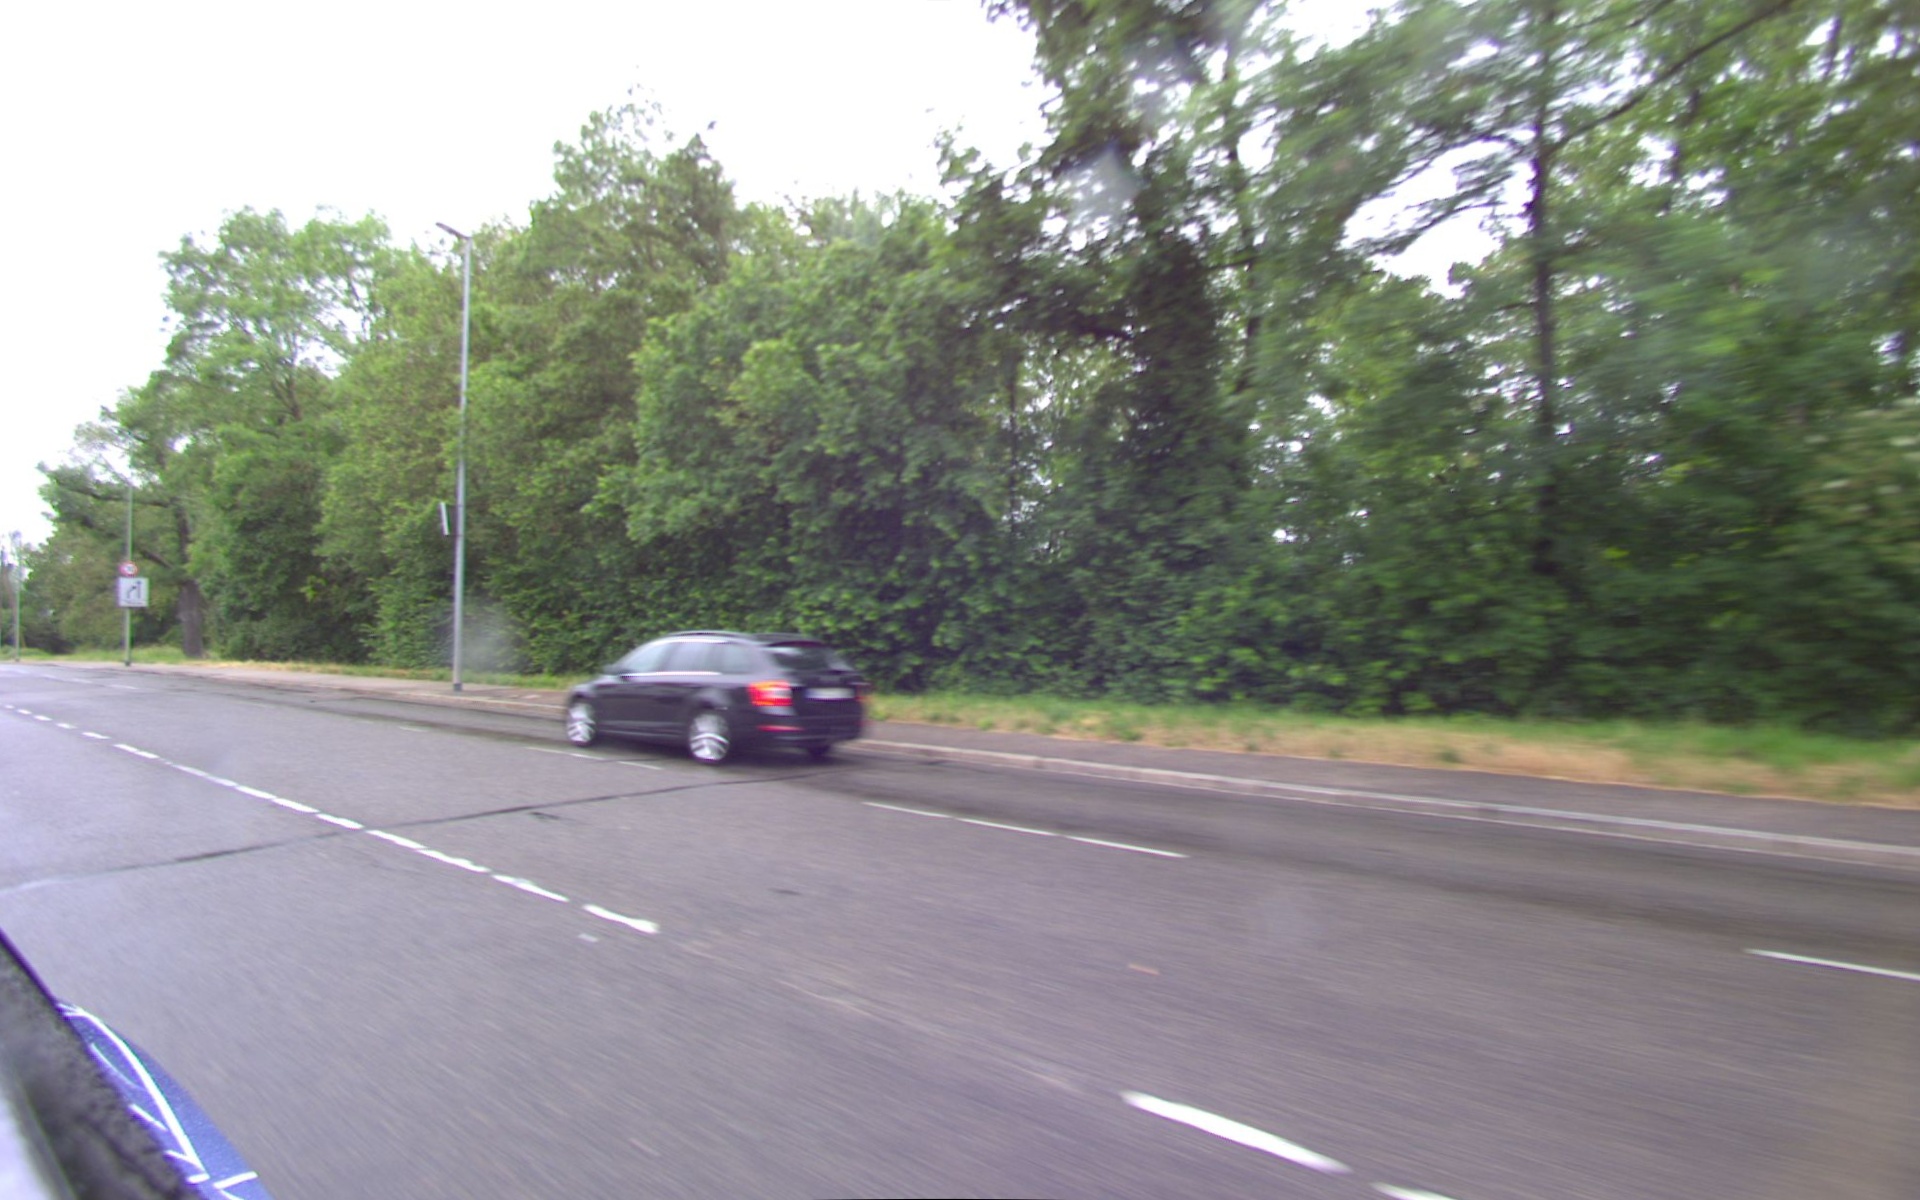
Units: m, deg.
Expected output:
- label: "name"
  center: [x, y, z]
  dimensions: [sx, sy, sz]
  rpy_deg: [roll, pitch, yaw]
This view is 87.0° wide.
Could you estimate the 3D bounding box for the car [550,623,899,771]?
- label: "car"
  center: [-2.917, 1.045, 12.033]
  dimensions: [4.384, 1.443, 1.726]
  rpy_deg: [-2, -4, 40]
